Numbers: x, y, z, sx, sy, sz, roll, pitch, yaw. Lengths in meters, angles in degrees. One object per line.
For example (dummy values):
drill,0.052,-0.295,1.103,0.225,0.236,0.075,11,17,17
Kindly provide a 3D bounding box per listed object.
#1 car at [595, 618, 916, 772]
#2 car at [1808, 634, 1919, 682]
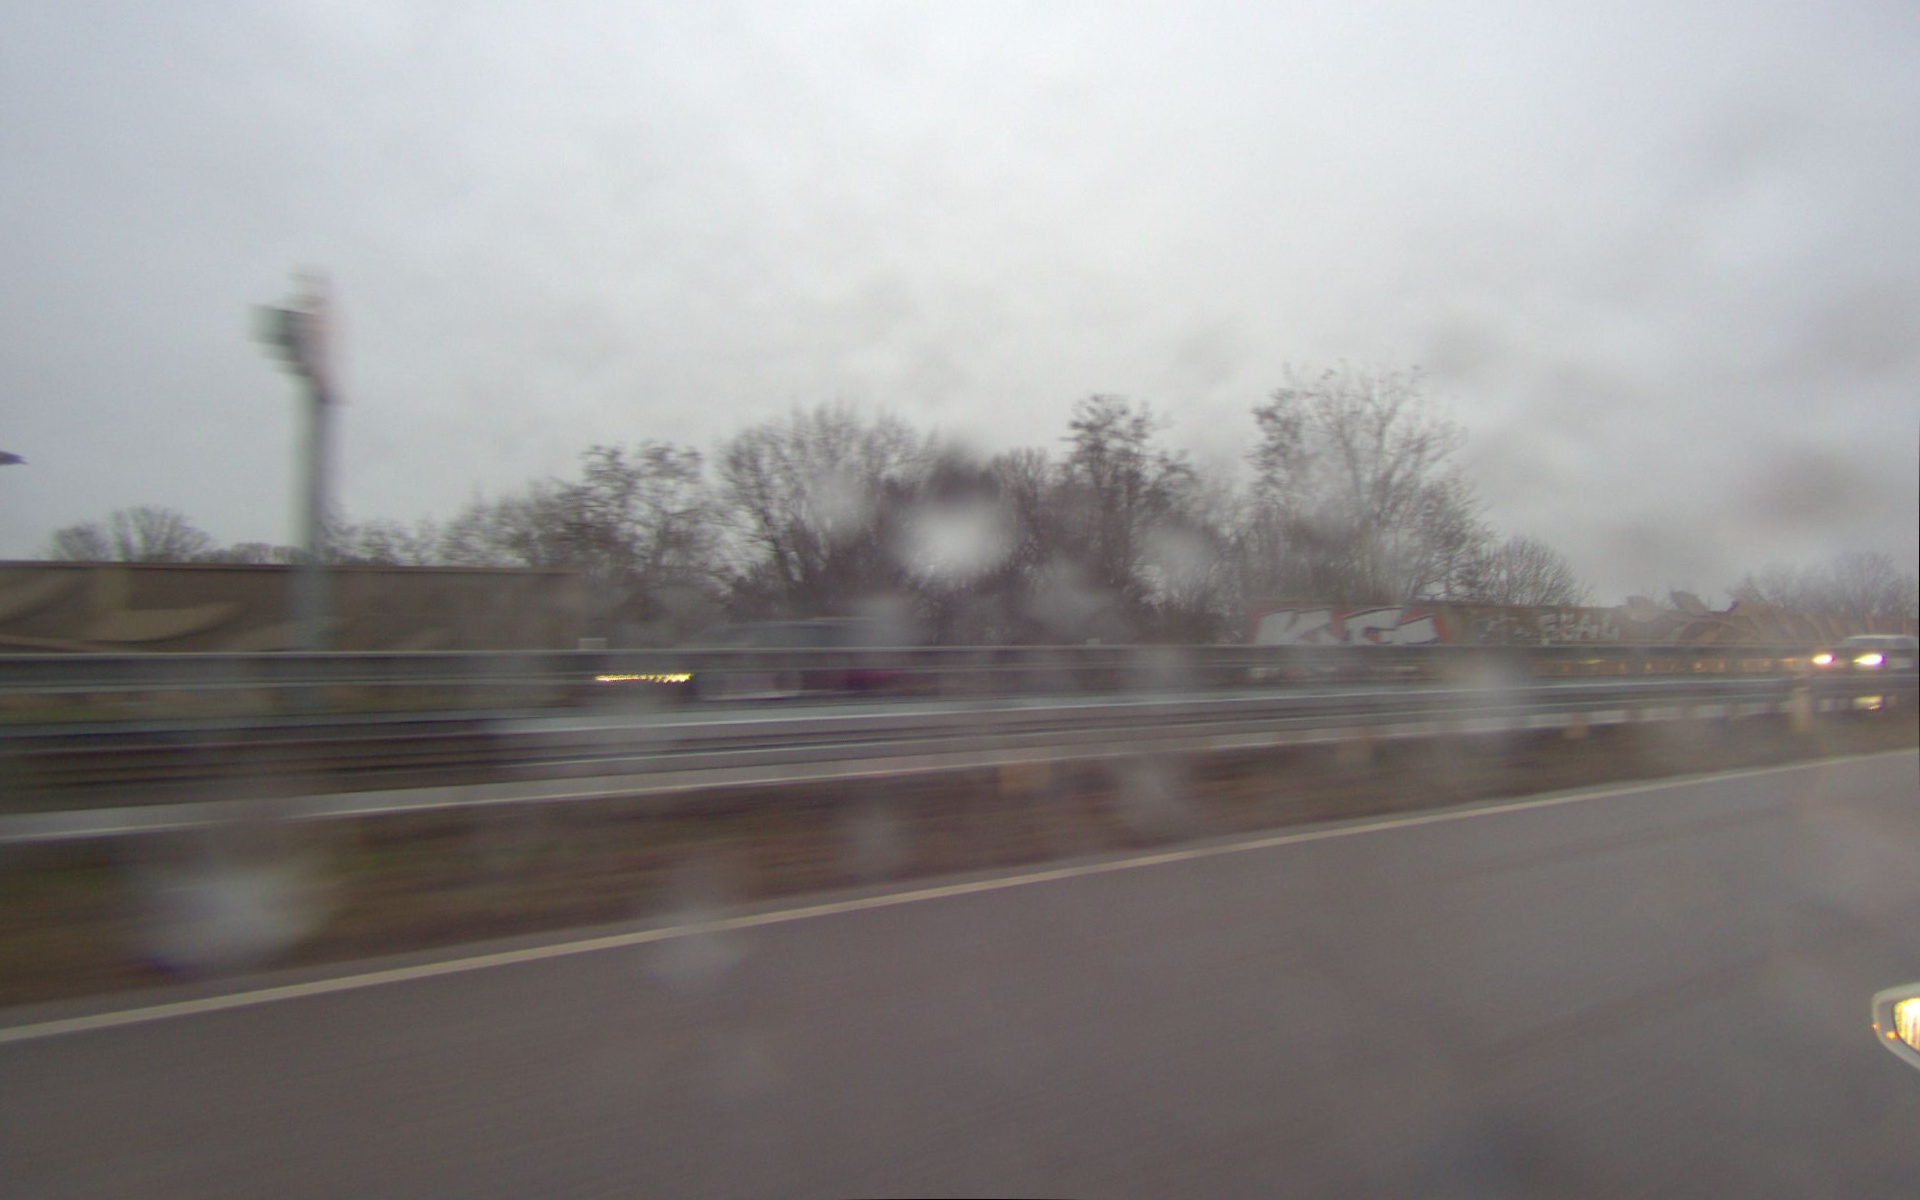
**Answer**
car,-2.980,1.275,14.875,4.239,1.944,1.983,1,0,-32
car,33.077,2.060,36.352,4.617,1.583,1.835,1,0,-24
